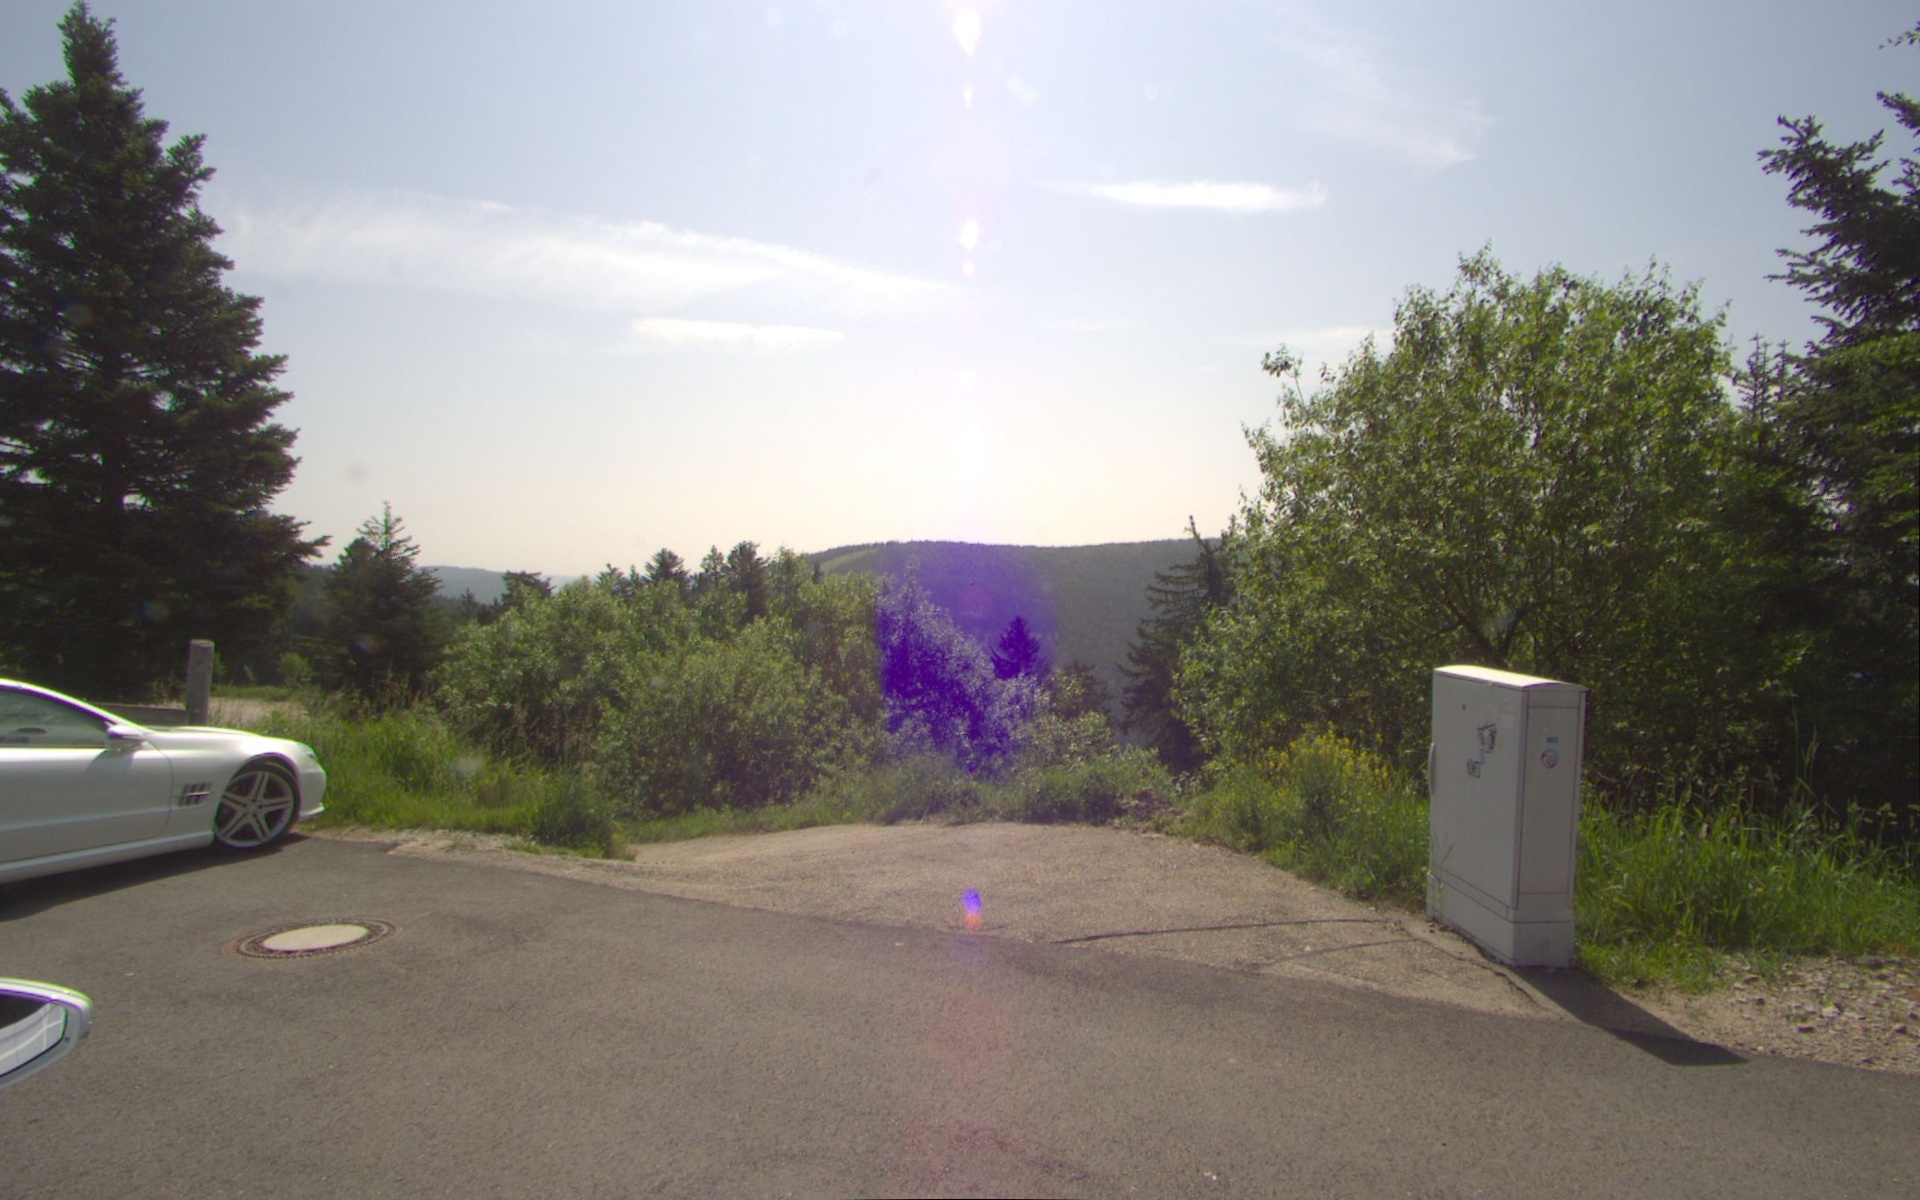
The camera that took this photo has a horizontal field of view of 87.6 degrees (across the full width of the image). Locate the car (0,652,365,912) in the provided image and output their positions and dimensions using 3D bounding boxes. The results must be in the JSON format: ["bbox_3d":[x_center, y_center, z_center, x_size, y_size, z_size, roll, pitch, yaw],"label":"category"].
[{"bbox_3d":[-5.820,0.980,5.774,1.722,1.312,4.415,1,-3,7],"label":"car"}]
